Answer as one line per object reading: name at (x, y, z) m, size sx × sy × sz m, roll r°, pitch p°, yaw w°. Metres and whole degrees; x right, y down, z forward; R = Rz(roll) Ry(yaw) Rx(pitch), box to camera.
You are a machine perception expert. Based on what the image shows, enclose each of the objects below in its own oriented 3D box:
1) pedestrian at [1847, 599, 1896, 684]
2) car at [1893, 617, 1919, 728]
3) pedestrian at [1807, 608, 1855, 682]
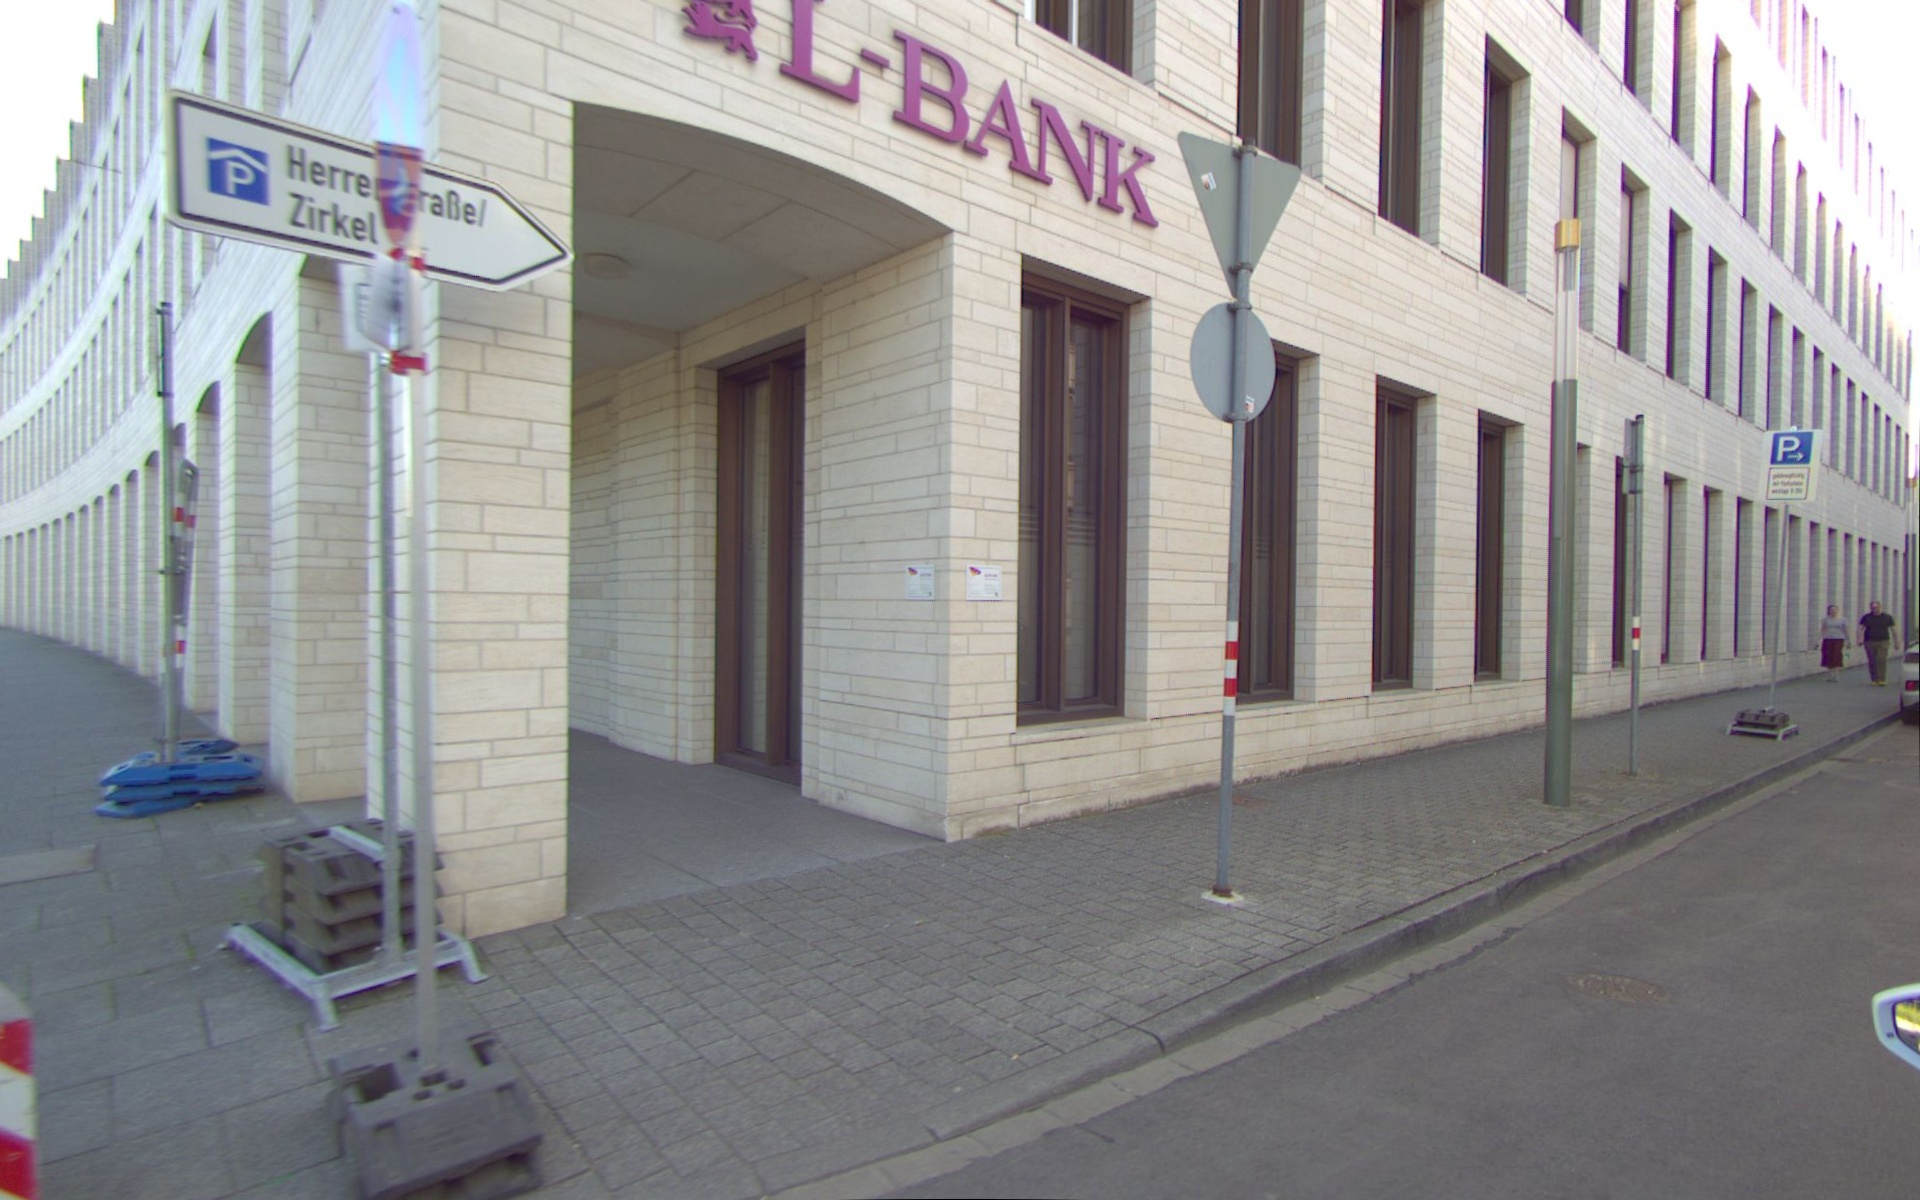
pedestrian at (19.771, 0.892, 21.788) m, size 0.721 × 1.810 × 0.698 m, roll 1°, pitch -1°, yaw -40°
car at (16.009, 1.060, 15.572) m, size 4.234 × 1.627 × 1.795 m, roll 1°, pitch -2°, yaw -41°
pedestrian at (19.720, 0.995, 22.740) m, size 0.854 × 1.635 × 0.698 m, roll 1°, pitch -1°, yaw -40°
